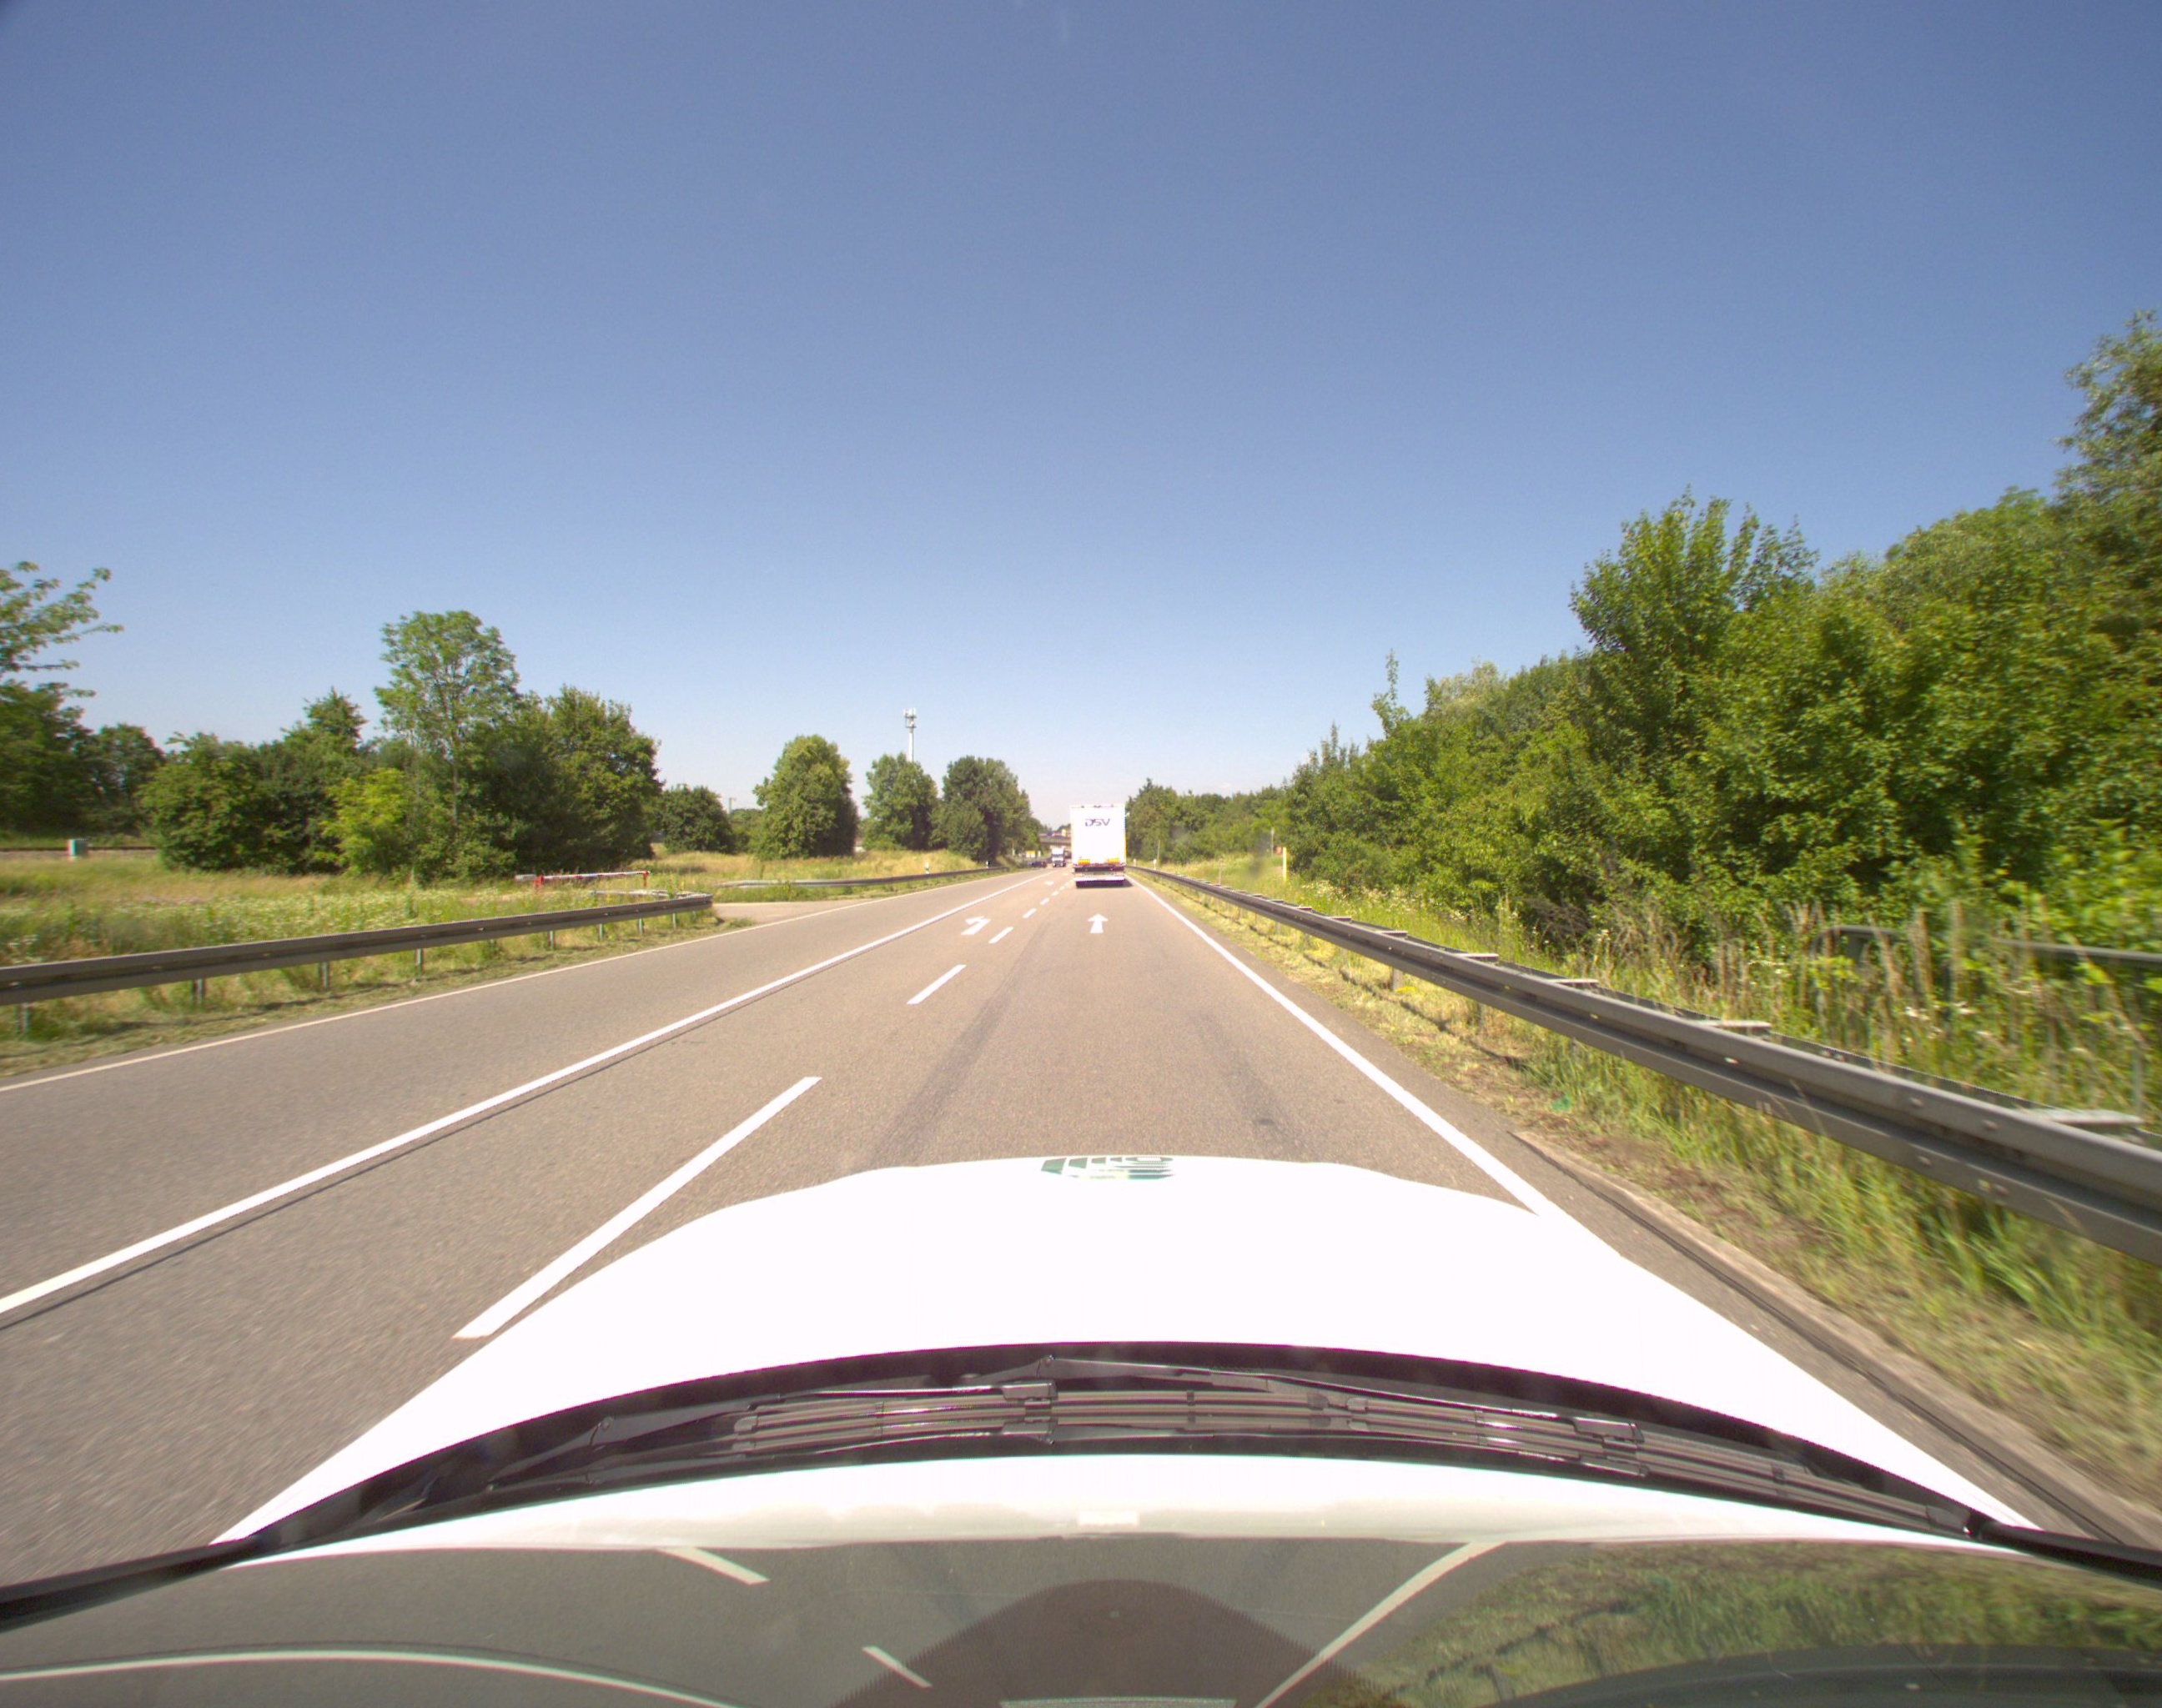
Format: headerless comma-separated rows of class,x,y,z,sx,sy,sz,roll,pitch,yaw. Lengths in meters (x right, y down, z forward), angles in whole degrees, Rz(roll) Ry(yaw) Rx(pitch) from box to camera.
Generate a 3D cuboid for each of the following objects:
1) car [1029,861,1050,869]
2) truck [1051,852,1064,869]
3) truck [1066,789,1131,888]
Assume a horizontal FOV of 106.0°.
car,-8.510,2.170,167.190,3.881,1.513,1.698,-1,0,-24
truck,-5.308,1.469,184.946,2.345,3.750,12.624,-1,0,0
truck,0.967,-0.695,43.263,2.939,4.569,9.866,-1,-1,2
